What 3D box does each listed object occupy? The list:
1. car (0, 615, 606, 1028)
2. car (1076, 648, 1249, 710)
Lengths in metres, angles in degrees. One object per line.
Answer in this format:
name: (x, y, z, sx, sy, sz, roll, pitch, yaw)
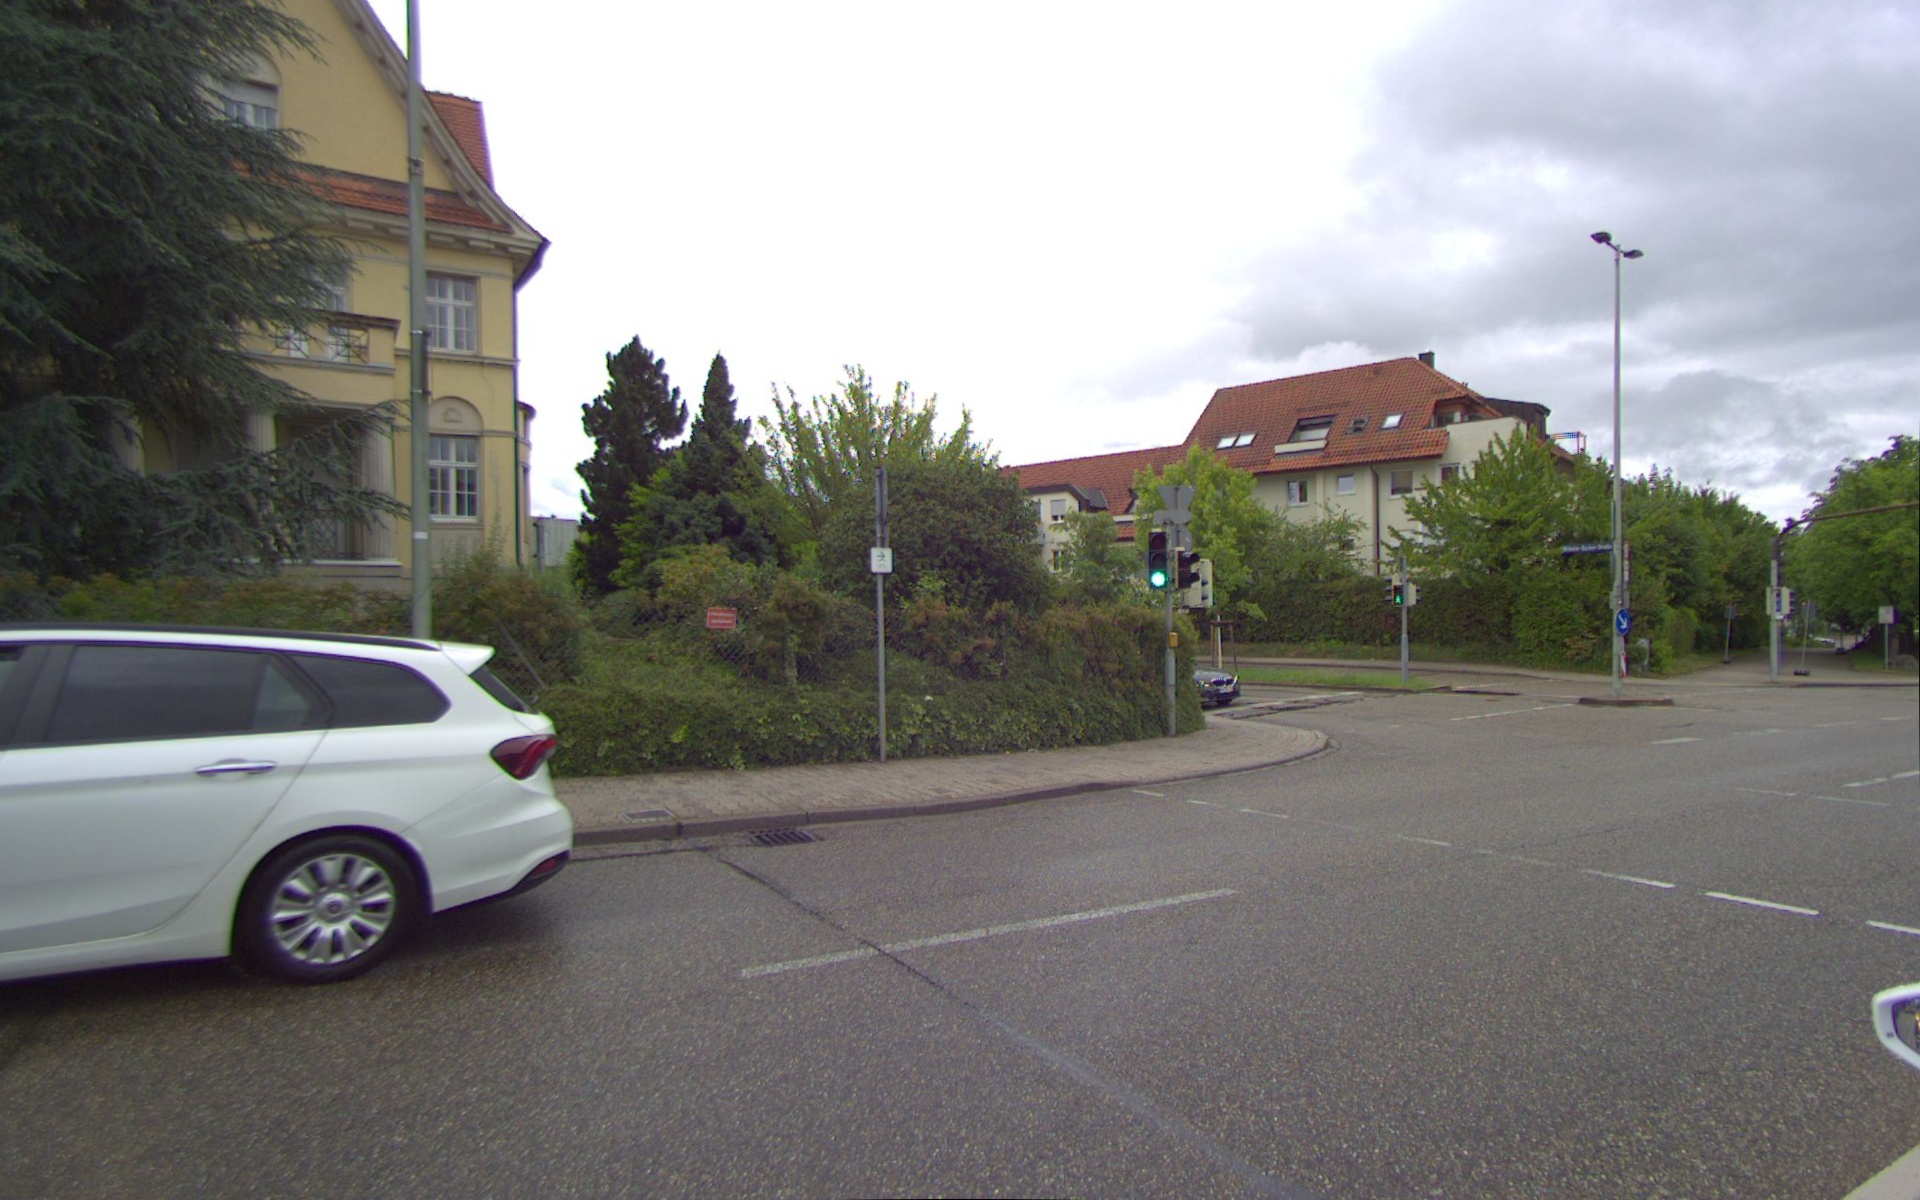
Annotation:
car: (-3.967, 0.836, 4.428, 4.259, 1.473, 1.958, 1, -3, -31)
car: (5.147, 2.018, 26.143, 1.759, 1.411, 4.392, 0, -3, -35)
